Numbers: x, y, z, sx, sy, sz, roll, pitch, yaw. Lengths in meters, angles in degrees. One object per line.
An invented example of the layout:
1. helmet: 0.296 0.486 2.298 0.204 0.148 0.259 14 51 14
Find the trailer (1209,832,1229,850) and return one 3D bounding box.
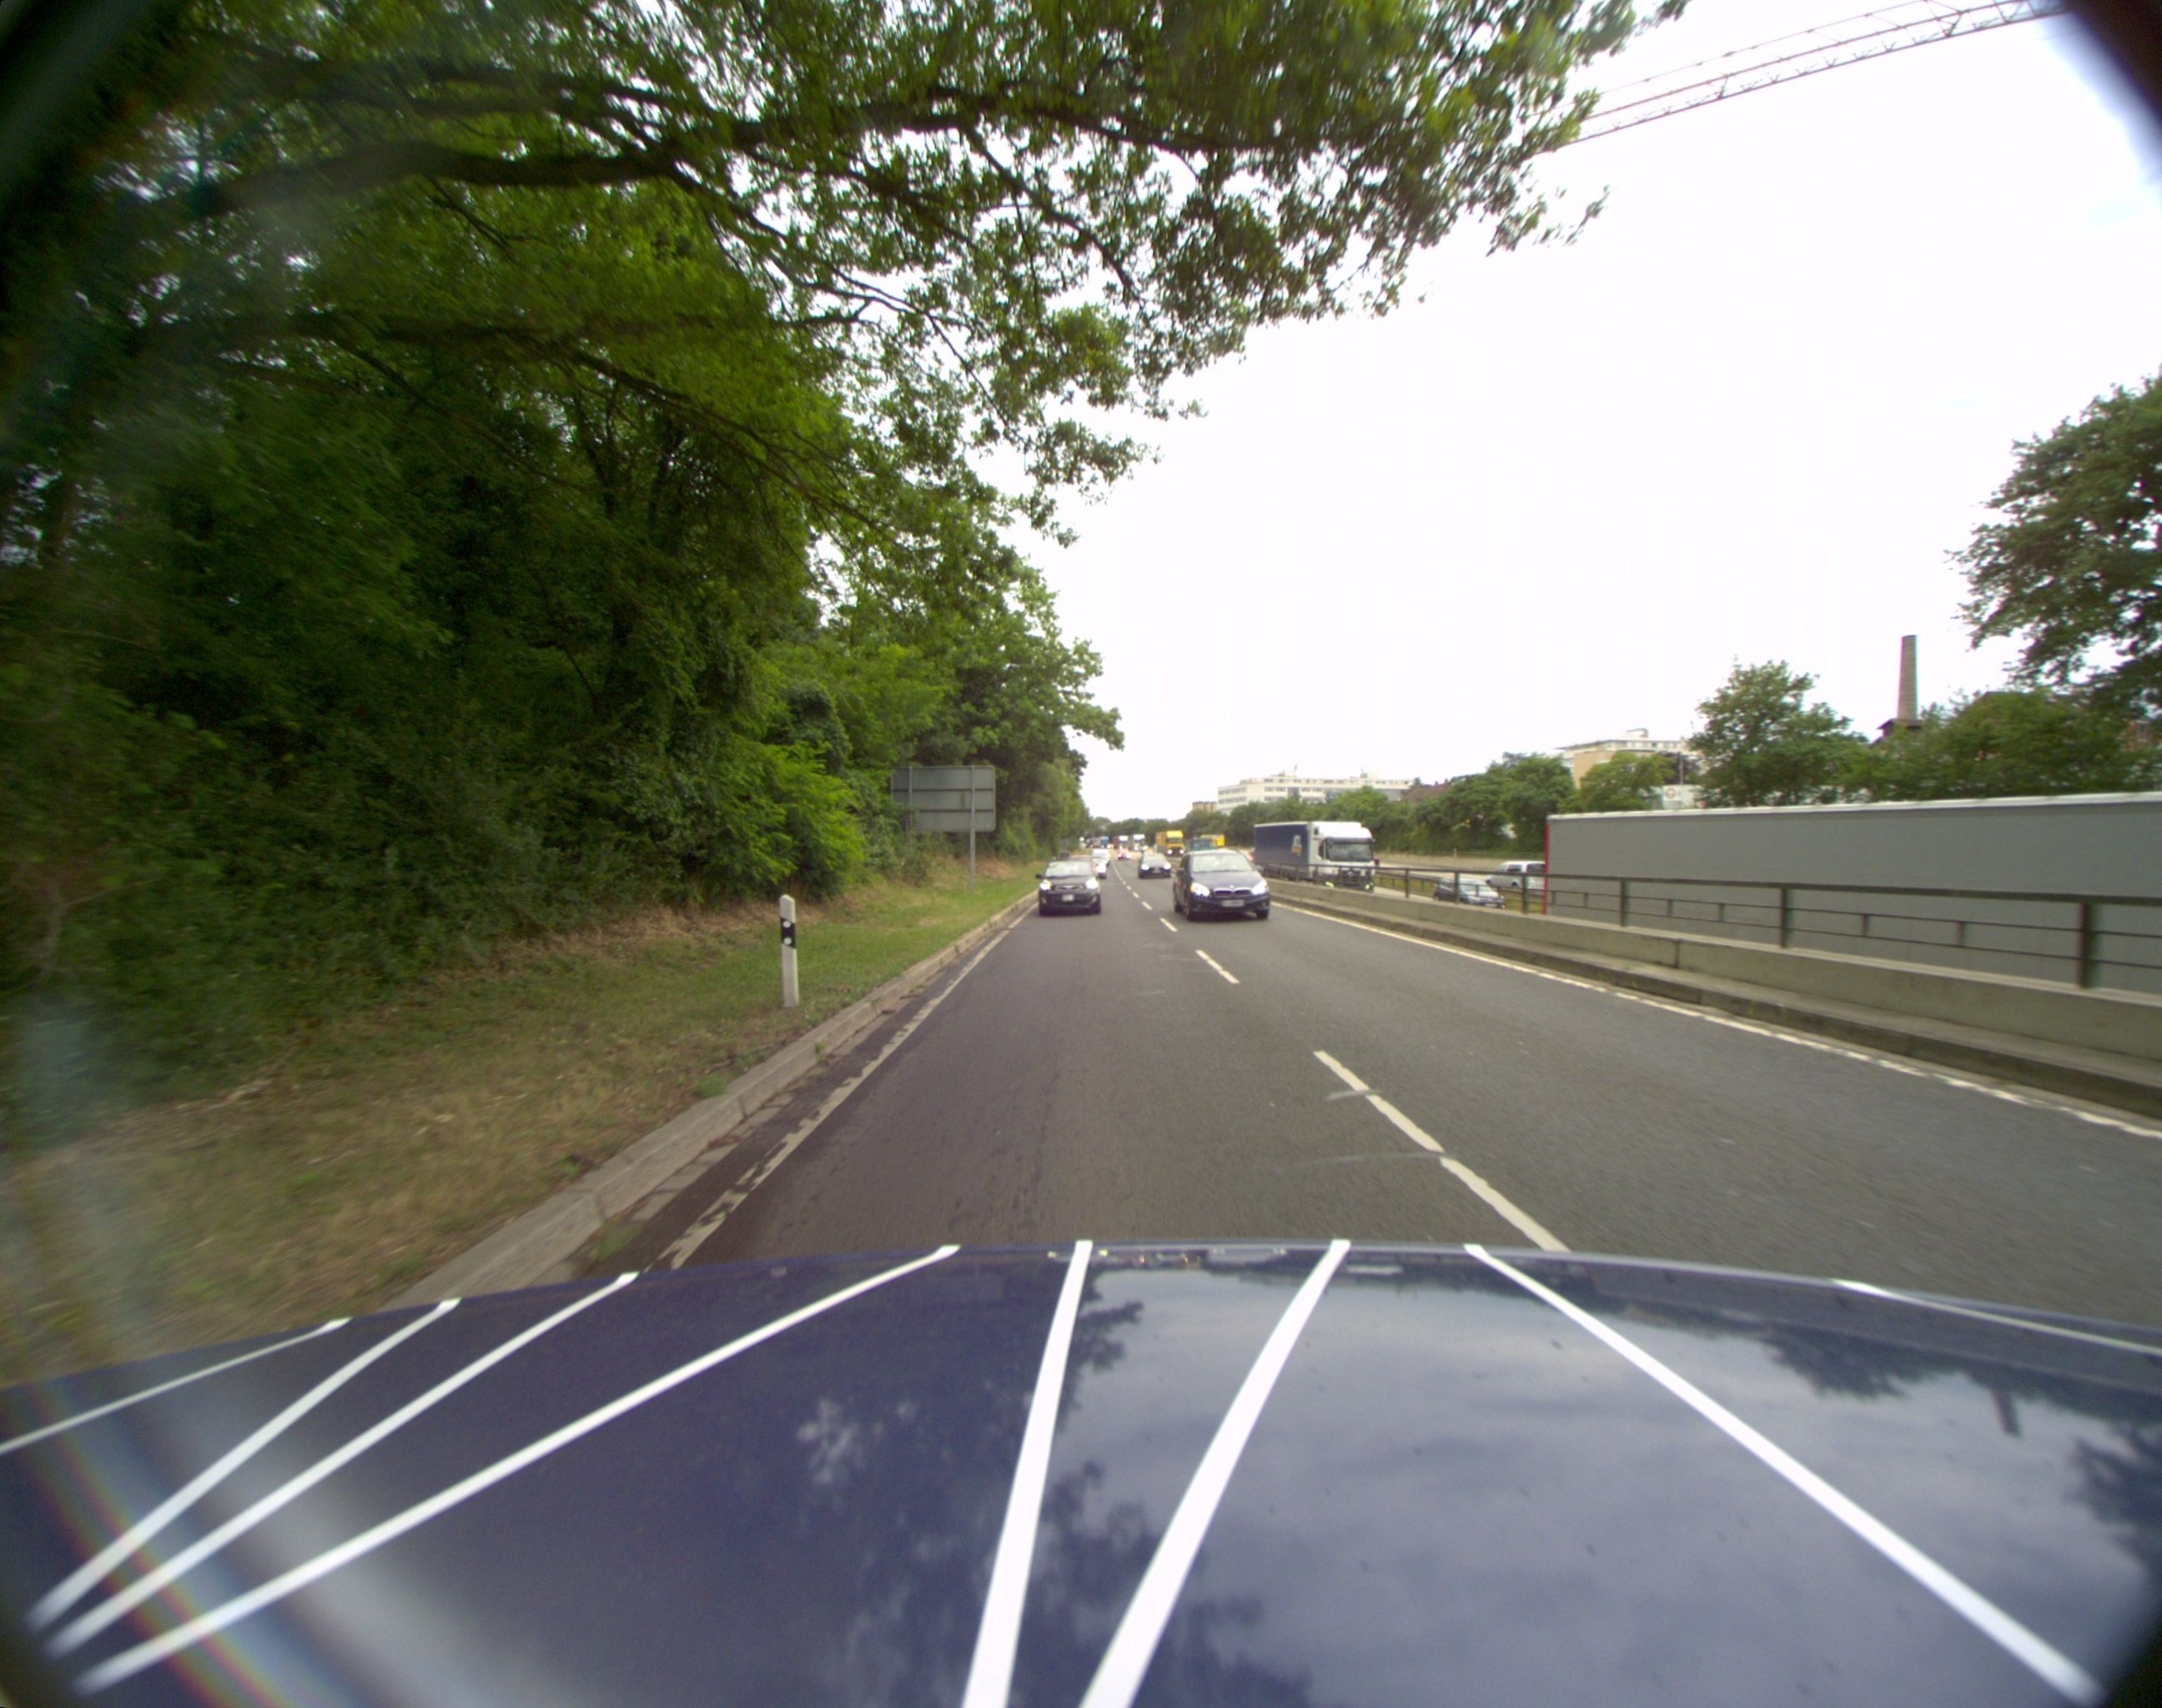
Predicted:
1. trailer: 31.990 -3.110 176.617 2.531 4.014 13.775 0 1 1

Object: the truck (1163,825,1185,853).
1. truck: 14.713 -2.353 120.802 2.893 4.319 6.518 0 1 1

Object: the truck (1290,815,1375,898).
1. truck: 12.956 0.060 39.696 2.530 4.014 6.096 0 1 1

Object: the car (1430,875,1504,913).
1. car: 17.635 1.786 34.910 1.627 1.433 3.897 0 1 4

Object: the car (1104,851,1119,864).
1. car: 3.370 0.357 84.505 1.627 1.337 4.000 -2 1 1

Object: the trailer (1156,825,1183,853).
1. trailer: 14.940 -2.526 129.923 2.897 4.329 19.920 0 1 1

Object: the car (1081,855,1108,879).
1. car: 0.865 0.817 48.929 1.627 1.337 4.000 -2 1 1

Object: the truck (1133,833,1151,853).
1. truck: 9.546 -1.786 120.762 2.524 2.961 13.779 0 1 3

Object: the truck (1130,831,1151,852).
1. truck: 9.406 -1.957 120.898 2.956 3.167 13.779 0 1 3

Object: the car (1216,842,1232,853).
1. car: 19.980 -0.955 106.238 1.627 1.433 4.000 -2 1 1

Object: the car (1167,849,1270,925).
1. car: 3.241 0.704 18.728 1.784 1.555 4.421 -2 1 1

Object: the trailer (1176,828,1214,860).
1. trailer: 13.970 -1.262 94.435 2.613 3.620 16.748 0 1 1

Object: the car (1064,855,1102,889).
1. car: 0.137 0.810 36.326 1.627 1.433 4.000 -2 1 1

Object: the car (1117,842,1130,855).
1. car: 6.219 -0.798 111.880 1.769 1.786 4.577 -2 1 1

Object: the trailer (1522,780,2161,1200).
1. trailer: 11.690 1.241 10.635 2.658 4.014 14.552 0 1 0

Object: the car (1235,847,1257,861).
1. car: 18.228 -0.026 84.102 1.627 1.433 4.000 -2 1 1

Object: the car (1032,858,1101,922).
1. car: -0.298 0.880 20.429 1.627 1.433 4.000 -2 1 1

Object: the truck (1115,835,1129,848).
1. truck: 12.283 -3.744 230.298 2.532 4.014 13.770 0 1 -4

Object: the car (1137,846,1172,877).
1. car: 4.544 0.418 47.453 1.769 1.786 4.577 -2 1 1

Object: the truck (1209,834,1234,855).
1. truck: 27.728 -1.958 150.613 2.956 4.014 13.778 0 1 2

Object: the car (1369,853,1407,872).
1. car: 25.870 0.687 64.131 1.627 1.433 4.000 -2 1 1

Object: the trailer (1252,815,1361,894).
1. trailer: 13.109 -0.089 45.915 2.530 4.014 14.782 0 1 1

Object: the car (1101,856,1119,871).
1. car: 2.870 0.899 76.010 1.627 1.337 4.000 -2 1 1

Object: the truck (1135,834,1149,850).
1. truck: 15.489 -3.052 194.989 2.956 4.014 13.777 0 1 2

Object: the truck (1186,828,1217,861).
1. truck: 13.819 -1.102 87.516 2.645 3.615 6.667 0 1 1
